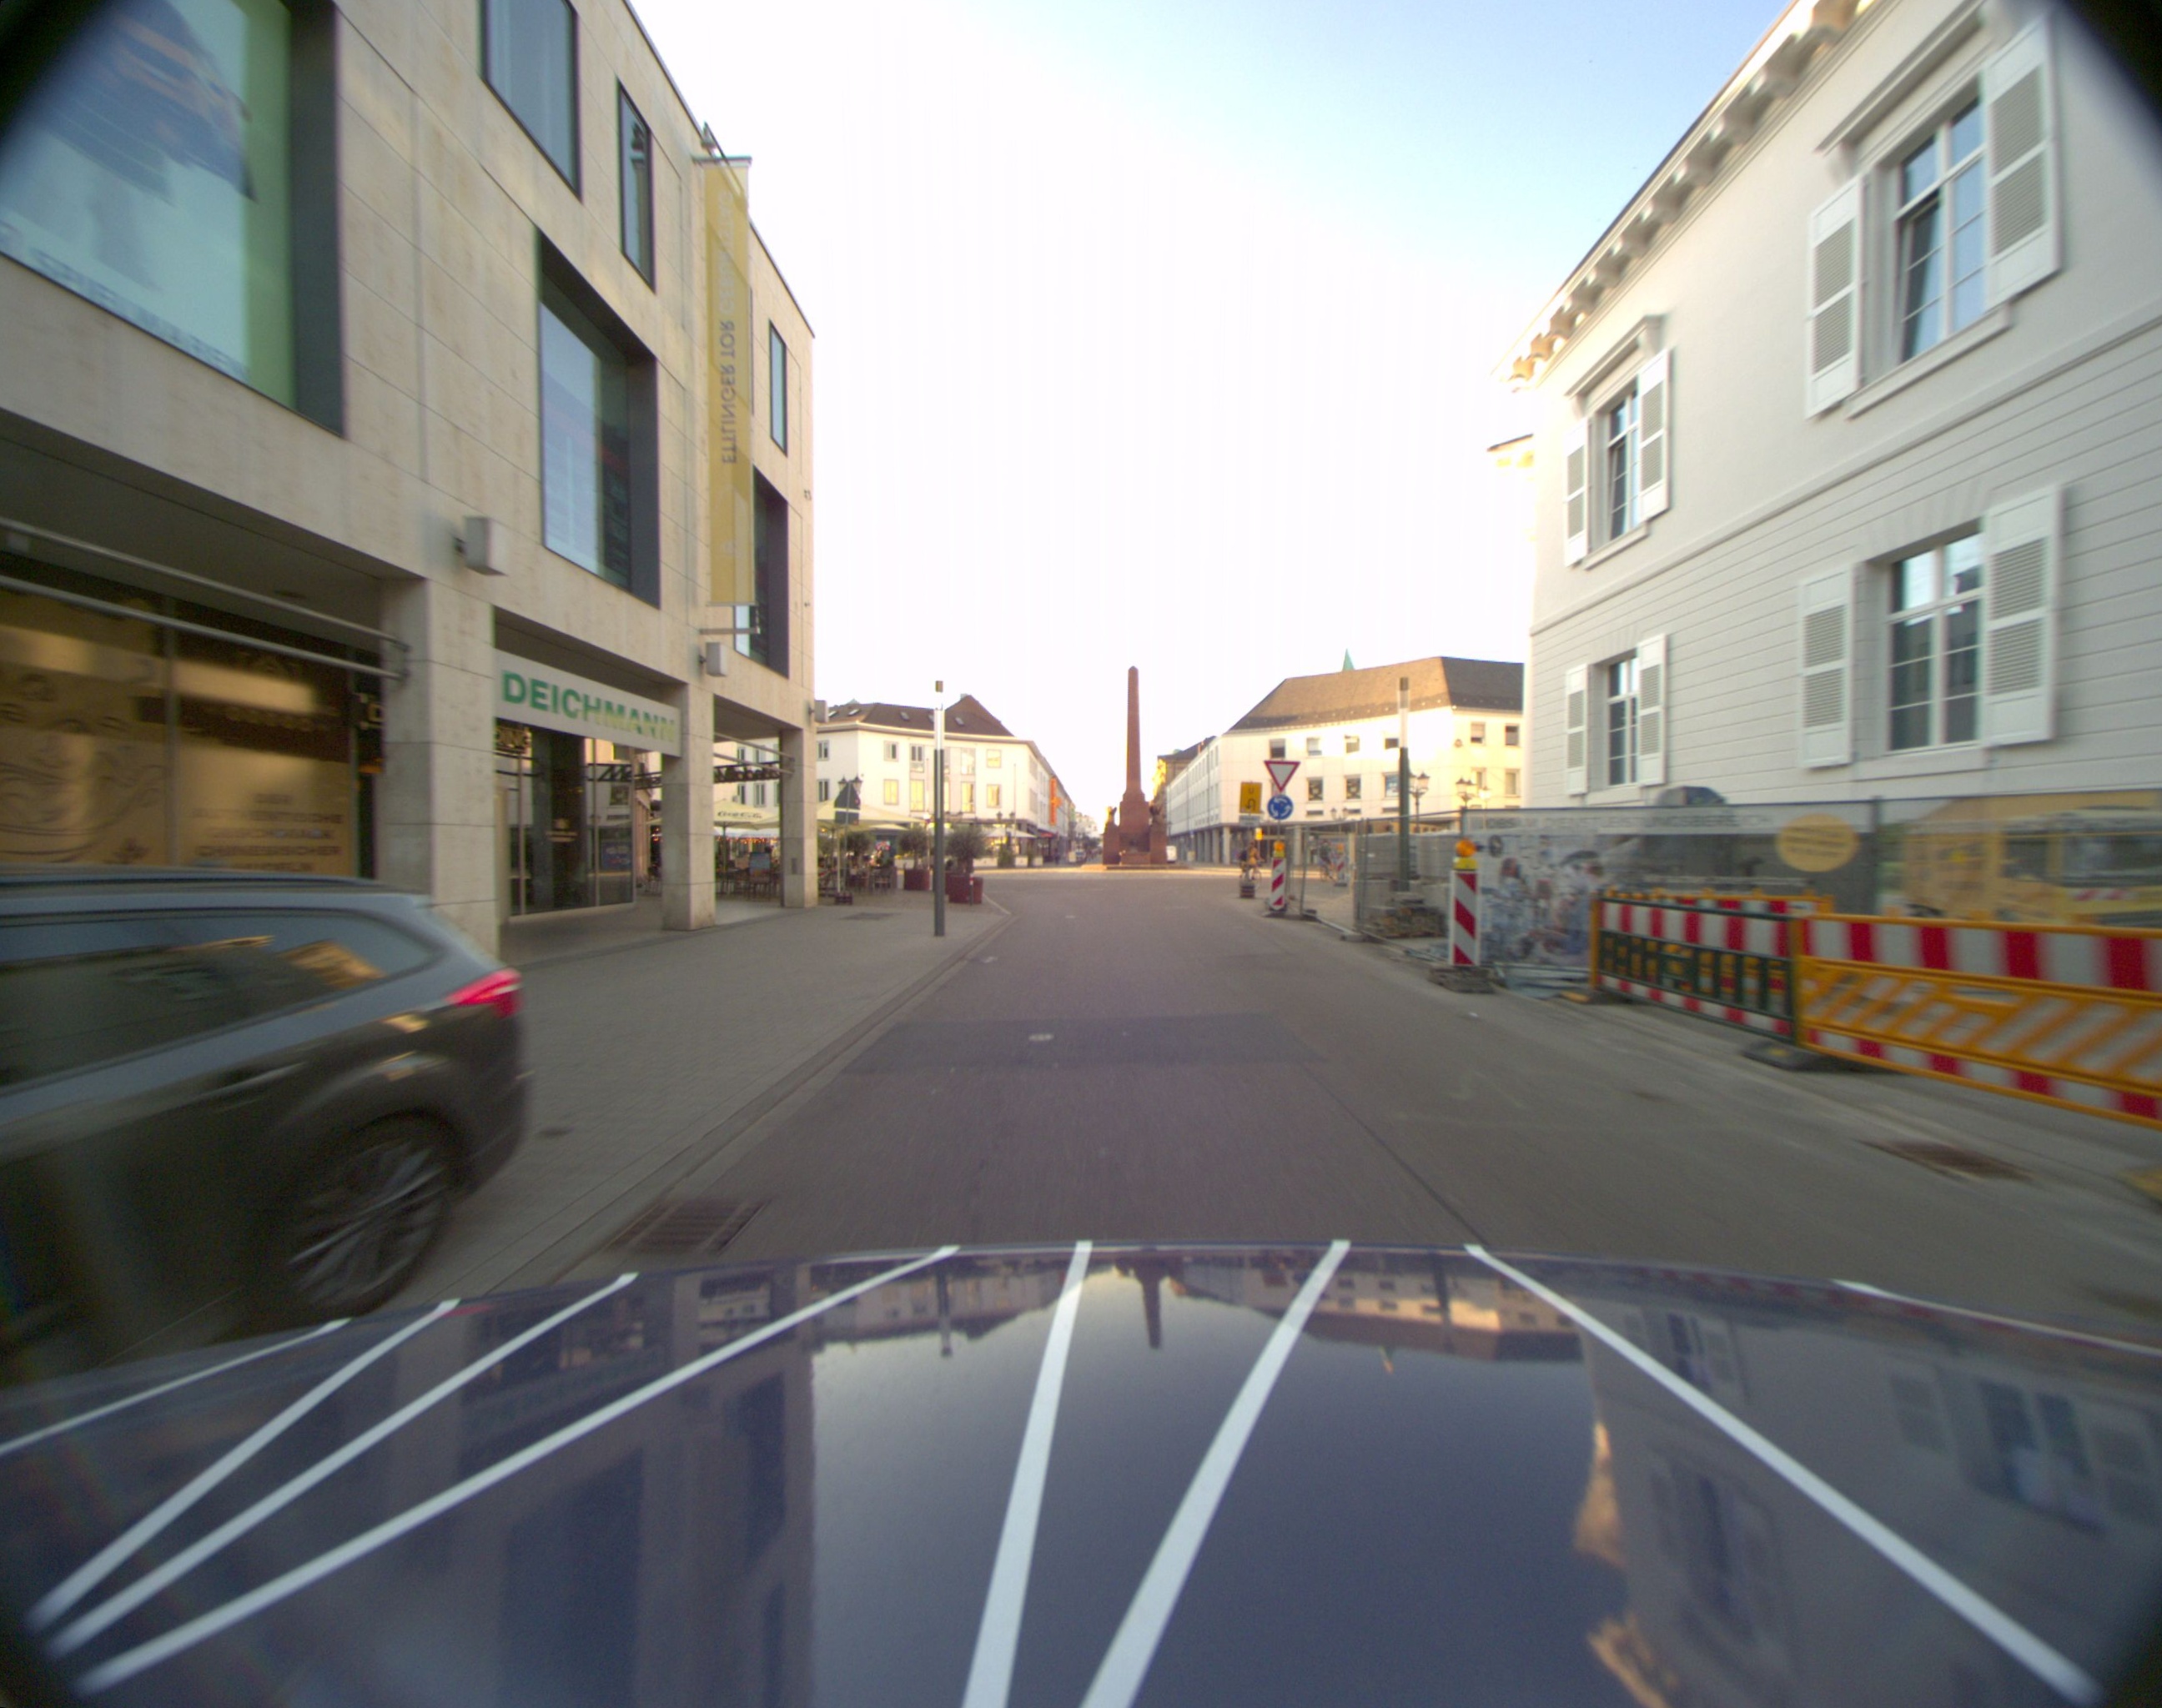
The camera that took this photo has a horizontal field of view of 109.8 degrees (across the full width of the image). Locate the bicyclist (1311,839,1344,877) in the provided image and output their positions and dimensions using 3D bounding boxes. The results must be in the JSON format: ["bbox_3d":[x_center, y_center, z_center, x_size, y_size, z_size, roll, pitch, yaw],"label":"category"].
[{"bbox_3d":[10.494,0.172,32.348,1.233,1.593,0.796,-1,1,-36],"label":"bicyclist"}]

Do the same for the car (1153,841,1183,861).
[{"bbox_3d":[8.431,-0.319,74.069,2.021,1.815,4.457,-1,1,-5],"label":"car"}]

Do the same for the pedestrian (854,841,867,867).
[{"bbox_3d":[-16.400,0.013,56.568,0.644,1.917,0.629,0,1,25],"label":"pedestrian"}]

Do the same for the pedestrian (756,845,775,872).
[{"bbox_3d":[-20.888,0.309,50.314,0.727,1.792,0.982,0,1,9],"label":"pedestrian"}]

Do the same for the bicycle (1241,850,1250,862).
[{"bbox_3d":[15.537,0.184,71.821,0.480,1.149,1.949,0,1,1],"label":"bicycle"}]

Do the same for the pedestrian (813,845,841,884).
[{"bbox_3d":[-10.332,0.419,30.914,0.748,1.579,0.715,0,1,19],"label":"pedestrian"}]

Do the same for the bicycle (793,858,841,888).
[{"bbox_3d":[-10.349,0.743,29.835,0.606,1.121,1.910,0,-1,26],"label":"bicycle"}]

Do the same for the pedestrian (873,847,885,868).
[{"bbox_3d":[-15.817,0.252,59.486,0.619,1.667,0.734,0,1,3],"label":"pedestrian"}]

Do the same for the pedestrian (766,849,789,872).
[{"bbox_3d":[-19.466,0.392,48.772,0.969,1.439,0.947,0,1,17],"label":"pedestrian"}]

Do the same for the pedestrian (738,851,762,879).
[{"bbox_3d":[-17.503,0.573,40.172,0.721,1.439,0.867,0,1,26],"label":"pedestrian"}]

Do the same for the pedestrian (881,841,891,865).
[{"bbox_3d":[-15.039,-0.062,58.668,0.508,1.808,0.719,0,1,3],"label":"pedestrian"}]

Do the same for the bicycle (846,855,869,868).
[{"bbox_3d":[-16.531,0.548,56.277,0.473,0.928,1.680,0,1,39],"label":"bicycle"}]

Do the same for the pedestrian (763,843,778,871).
[{"bbox_3d":[-19.660,0.187,48.130,0.718,1.737,0.708,-1,1,-34],"label":"pedestrian"}]

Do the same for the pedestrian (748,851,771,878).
[{"bbox_3d":[-17.411,0.588,41.158,0.721,1.439,0.867,0,1,26],"label":"pedestrian"}]

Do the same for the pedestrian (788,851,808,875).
[{"bbox_3d":[-17.187,0.516,46.174,0.721,1.439,0.867,0,1,26],"label":"pedestrian"}]

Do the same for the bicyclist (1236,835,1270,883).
[{"bbox_3d":[5.608,0.153,24.707,0.796,1.523,0.976,0,1,32],"label":"bicyclist"}]

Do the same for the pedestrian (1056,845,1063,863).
[{"bbox_3d":[-2.075,0.022,72.197,0.604,1.691,0.713,-1,1,-4],"label":"pedestrian"}]

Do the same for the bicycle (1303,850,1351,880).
[{"bbox_3d":[10.498,0.463,32.361,2.237,1.210,0.796,-1,1,-36],"label":"bicycle"}]

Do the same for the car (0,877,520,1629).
[{"bbox_3d":[-3.227,0.905,0.963,1.799,1.482,4.192,3,1,2],"label":"car"}]

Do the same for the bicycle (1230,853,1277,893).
[{"bbox_3d":[5.629,0.588,24.744,0.796,1.210,2.237,0,1,32],"label":"bicycle"}]

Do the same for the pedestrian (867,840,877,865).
[{"bbox_3d":[-16.492,-0.112,59.944,0.580,1.912,0.543,0,1,3],"label":"pedestrian"}]

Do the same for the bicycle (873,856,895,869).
[{"bbox_3d":[-15.209,0.656,58.715,0.473,0.928,1.680,0,1,39],"label":"bicycle"}]

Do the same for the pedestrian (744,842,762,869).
[{"bbox_3d":[-21.716,0.091,50.354,0.728,1.792,0.850,-1,1,8],"label":"pedestrian"}]
